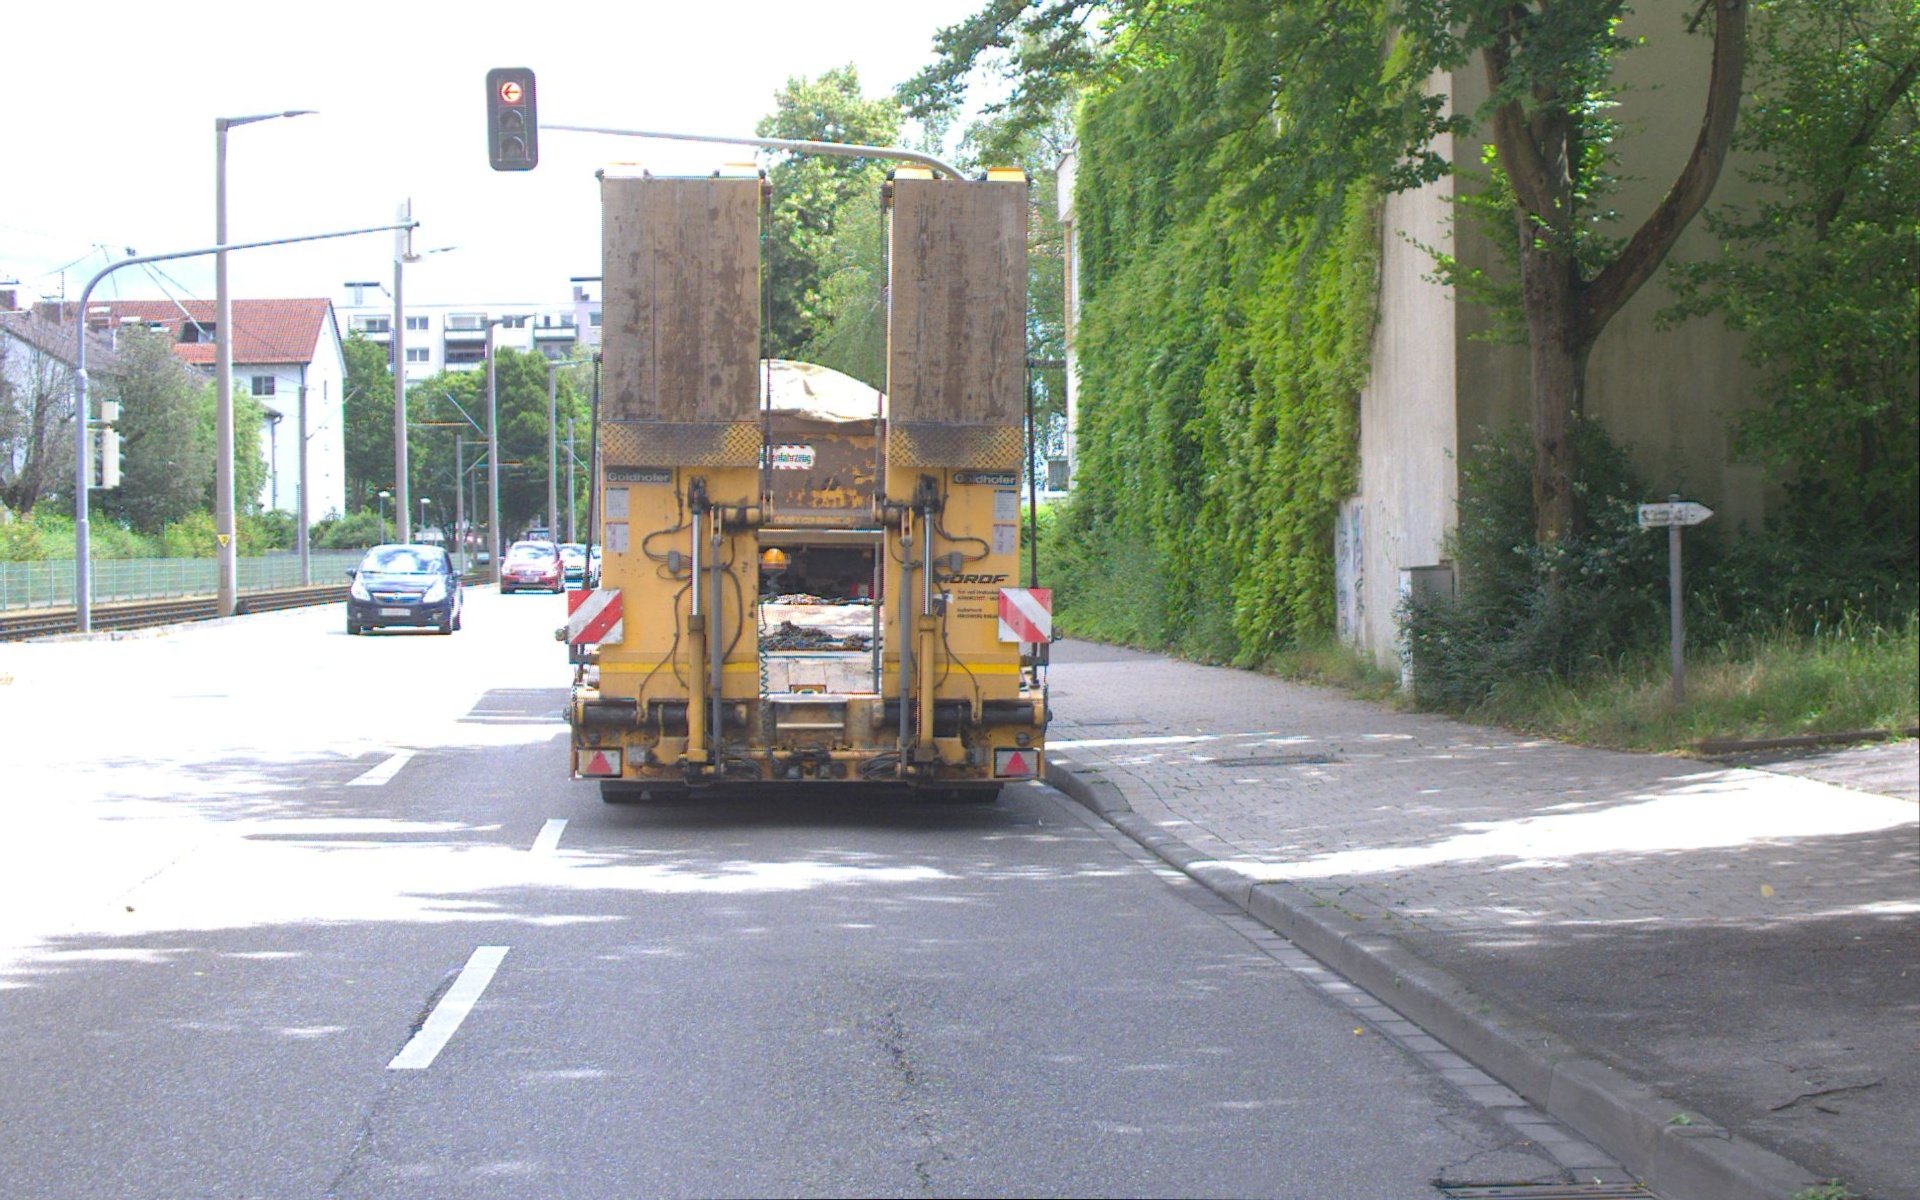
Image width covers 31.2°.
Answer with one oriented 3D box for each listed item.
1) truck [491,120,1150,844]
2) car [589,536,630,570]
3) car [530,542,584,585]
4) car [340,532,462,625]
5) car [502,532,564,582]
[{"bbox_3d":[-1.522,-0.760,24.680,3.401,3.719,13.742,-1,1,-7],"label":"truck"},{"bbox_3d":[-15.173,-2.032,149.014,1.667,1.448,3.680,1,0,-5],"label":"car"},{"bbox_3d":[-13.898,-1.258,118.659,1.667,1.448,3.680,1,0,-5],"label":"car"},{"bbox_3d":[-9.172,-0.351,56.642,1.667,1.448,3.680,1,0,-5],"label":"car"},{"bbox_3d":[-12.811,-1.285,103.298,1.667,1.448,3.680,1,0,-5],"label":"car"}]
